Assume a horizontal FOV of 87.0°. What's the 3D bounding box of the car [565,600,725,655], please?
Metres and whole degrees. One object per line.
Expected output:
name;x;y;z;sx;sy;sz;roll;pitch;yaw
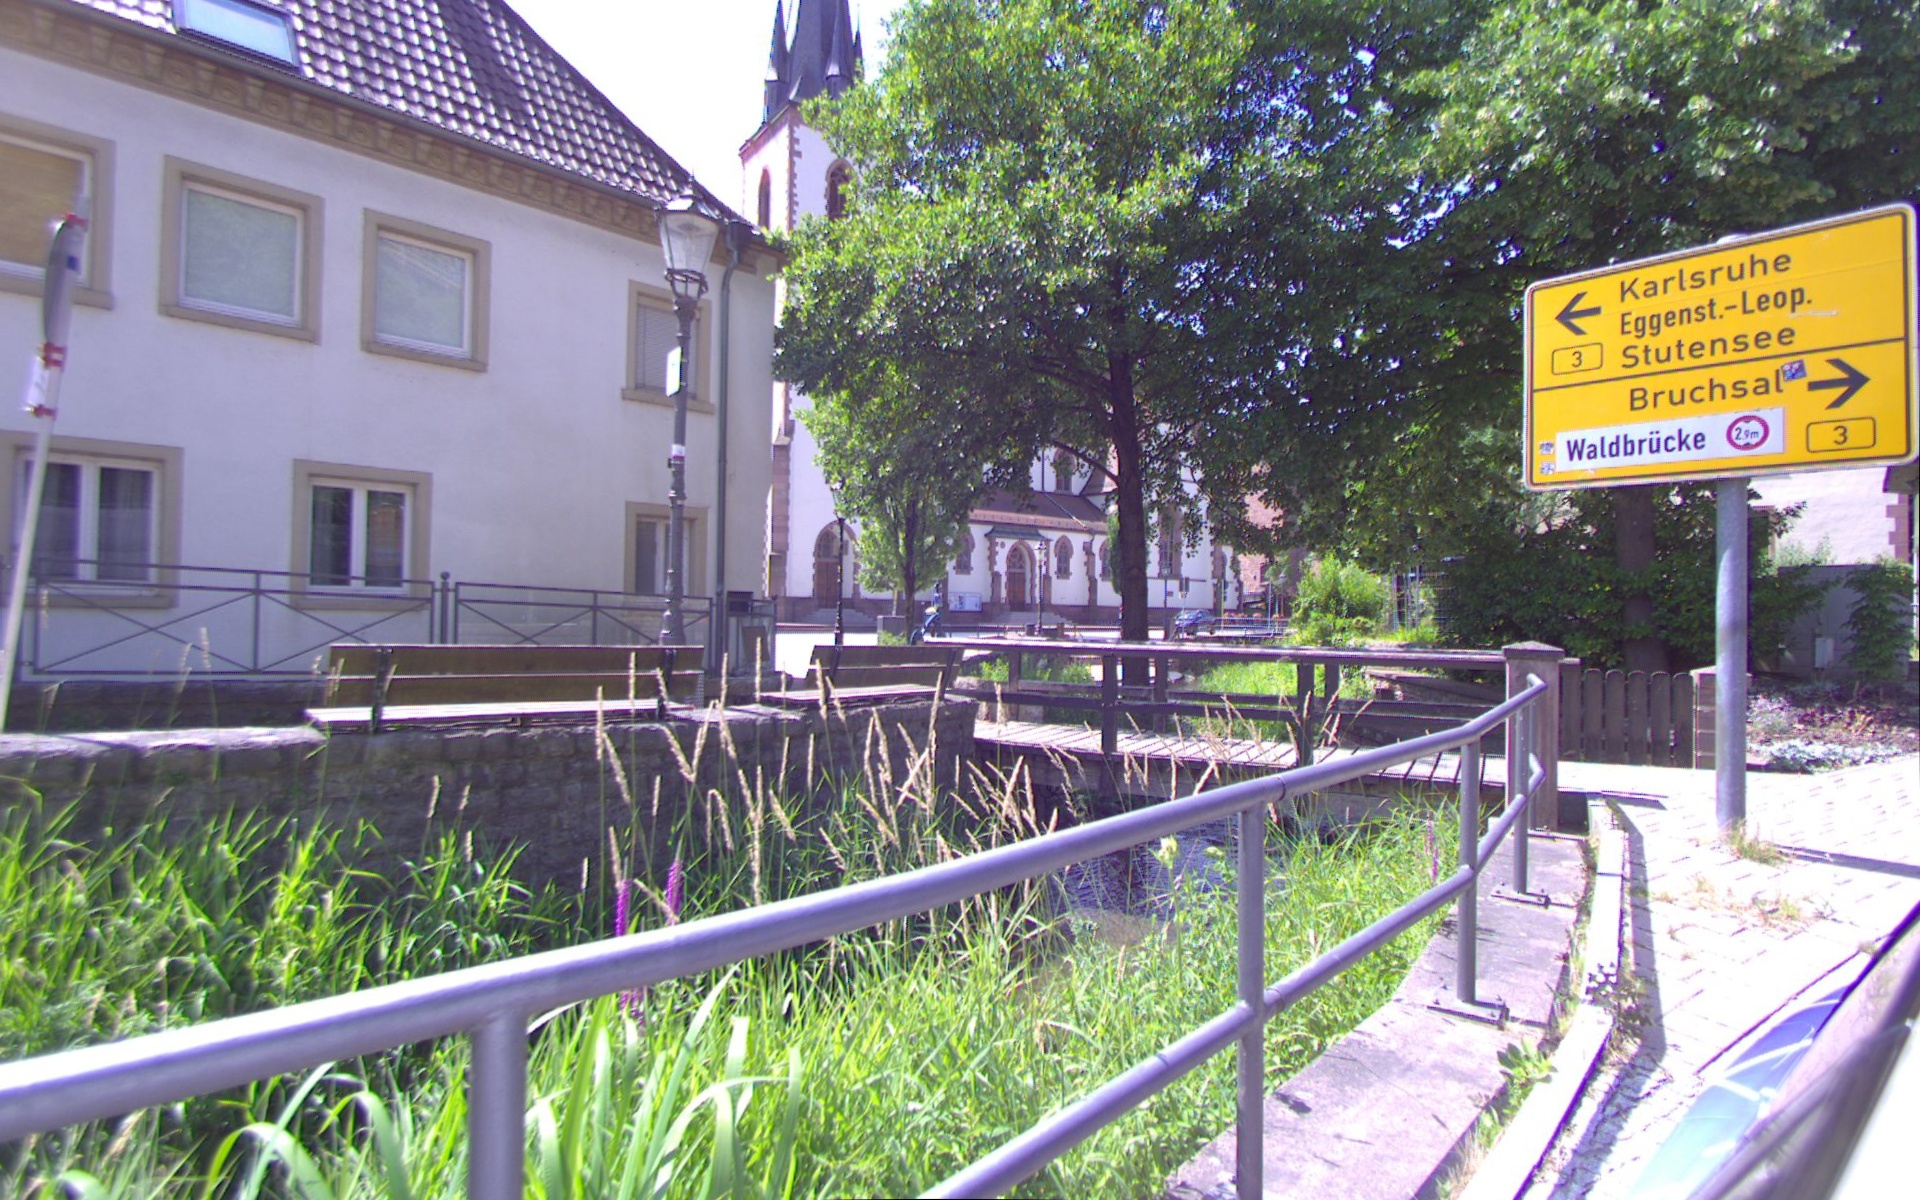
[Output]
car;-9.780;0.876;31.561;4.451;1.500;1.590;3;-1;-33

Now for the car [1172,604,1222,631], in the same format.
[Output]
car;13.976;1.026;59.531;1.658;1.524;3.765;-1;-1;33

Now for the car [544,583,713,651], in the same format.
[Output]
car;-11.126;0.600;34.130;5.022;2.053;1.960;3;-1;-33

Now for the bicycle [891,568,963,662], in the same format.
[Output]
bicycle;-0.733;0.339;23.513;0.772;2.040;2.651;-3;-2;17
